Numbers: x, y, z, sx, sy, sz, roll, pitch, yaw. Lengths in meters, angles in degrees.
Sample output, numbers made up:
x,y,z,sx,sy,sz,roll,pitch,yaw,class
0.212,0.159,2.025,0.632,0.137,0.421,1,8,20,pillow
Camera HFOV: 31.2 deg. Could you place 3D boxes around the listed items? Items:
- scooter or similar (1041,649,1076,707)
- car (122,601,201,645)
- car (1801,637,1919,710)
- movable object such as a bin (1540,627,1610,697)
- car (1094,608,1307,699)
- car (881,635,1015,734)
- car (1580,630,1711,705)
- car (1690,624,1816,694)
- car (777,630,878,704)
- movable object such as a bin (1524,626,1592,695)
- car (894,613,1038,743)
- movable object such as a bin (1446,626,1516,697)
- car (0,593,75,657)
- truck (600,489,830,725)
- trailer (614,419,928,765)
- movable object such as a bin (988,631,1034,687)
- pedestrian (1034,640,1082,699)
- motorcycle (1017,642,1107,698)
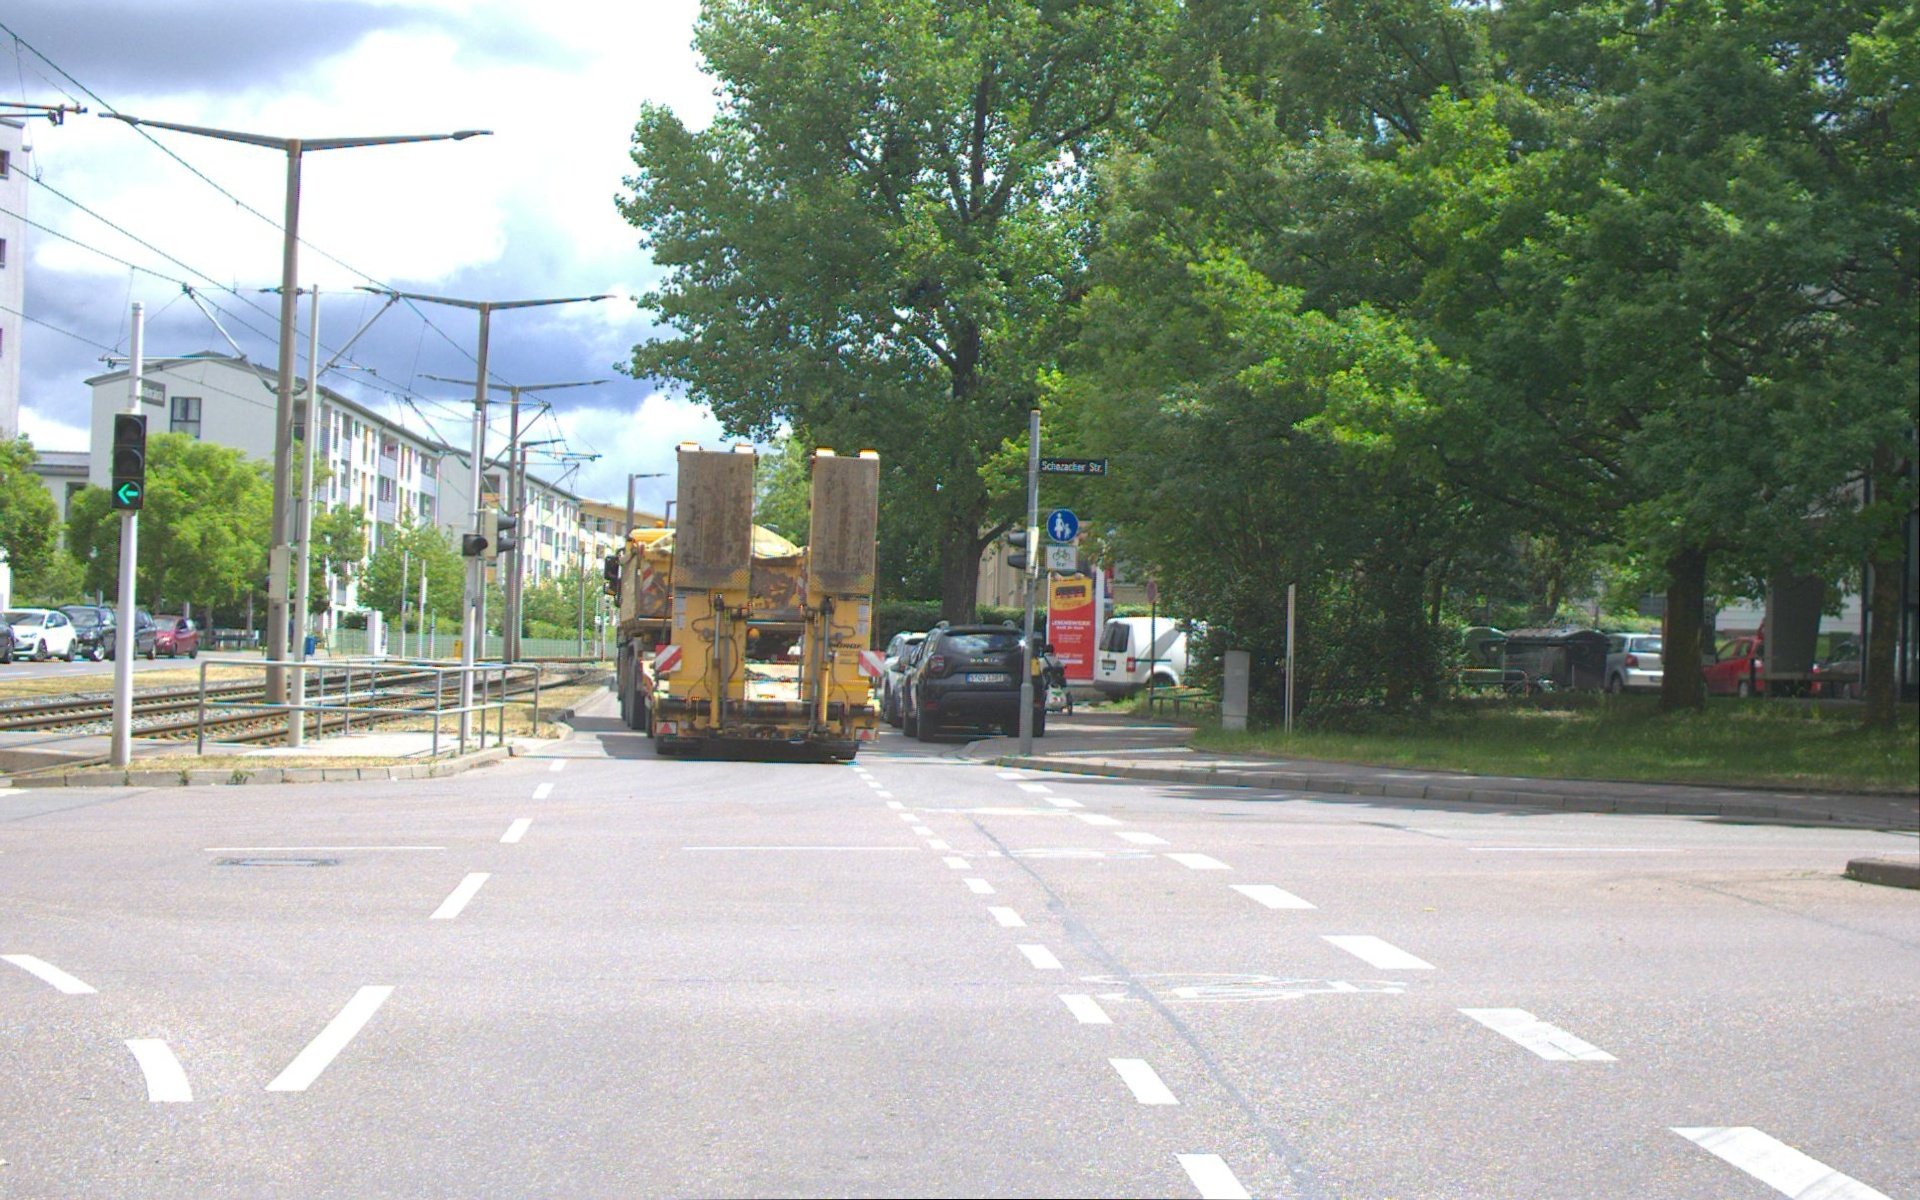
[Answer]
x,y,z,sx,sy,sz,roll,pitch,yaw,class
1.802,1.426,62.946,0.476,1.051,0.897,1,0,-9,scooter or similar
-26.572,0.765,114.487,1.613,1.421,3.422,1,0,4,car
19.652,1.565,74.227,1.743,1.465,4.000,1,0,-4,car
12.840,1.293,71.800,1.115,1.425,1.286,1,0,-5,movable object such as a bin
4.956,1.102,70.742,3.986,1.817,1.811,1,0,-26,car
-0.227,1.314,54.510,1.643,1.453,4.076,1,0,-7,car
14.767,1.435,74.259,1.940,1.485,4.000,1,0,-1,car
17.241,1.264,74.888,1.743,1.438,4.000,1,0,-1,car
-2.825,1.392,72.385,1.815,1.444,3.827,1,0,-7,car
12.714,1.284,73.120,1.115,1.425,1.286,1,0,-5,movable object such as a bin
0.041,1.092,49.970,1.643,1.756,4.570,1,0,-5,car
10.741,1.257,70.923,1.115,1.425,1.286,1,0,-5,movable object such as a bin
-26.119,0.675,96.055,1.993,1.657,4.100,3,0,-5,car
-3.901,0.101,52.906,2.833,3.319,7.986,1,0,-9,truck
-2.651,-0.091,43.531,3.050,3.760,11.614,1,0,-7,trailer
1.306,1.520,88.652,1.098,1.434,0.761,1,0,-5,movable object such as a bin
1.796,1.274,62.936,0.775,1.051,0.547,1,0,-9,pedestrian
2.216,1.520,74.543,1.794,1.206,0.712,1,0,-25,motorcycle
